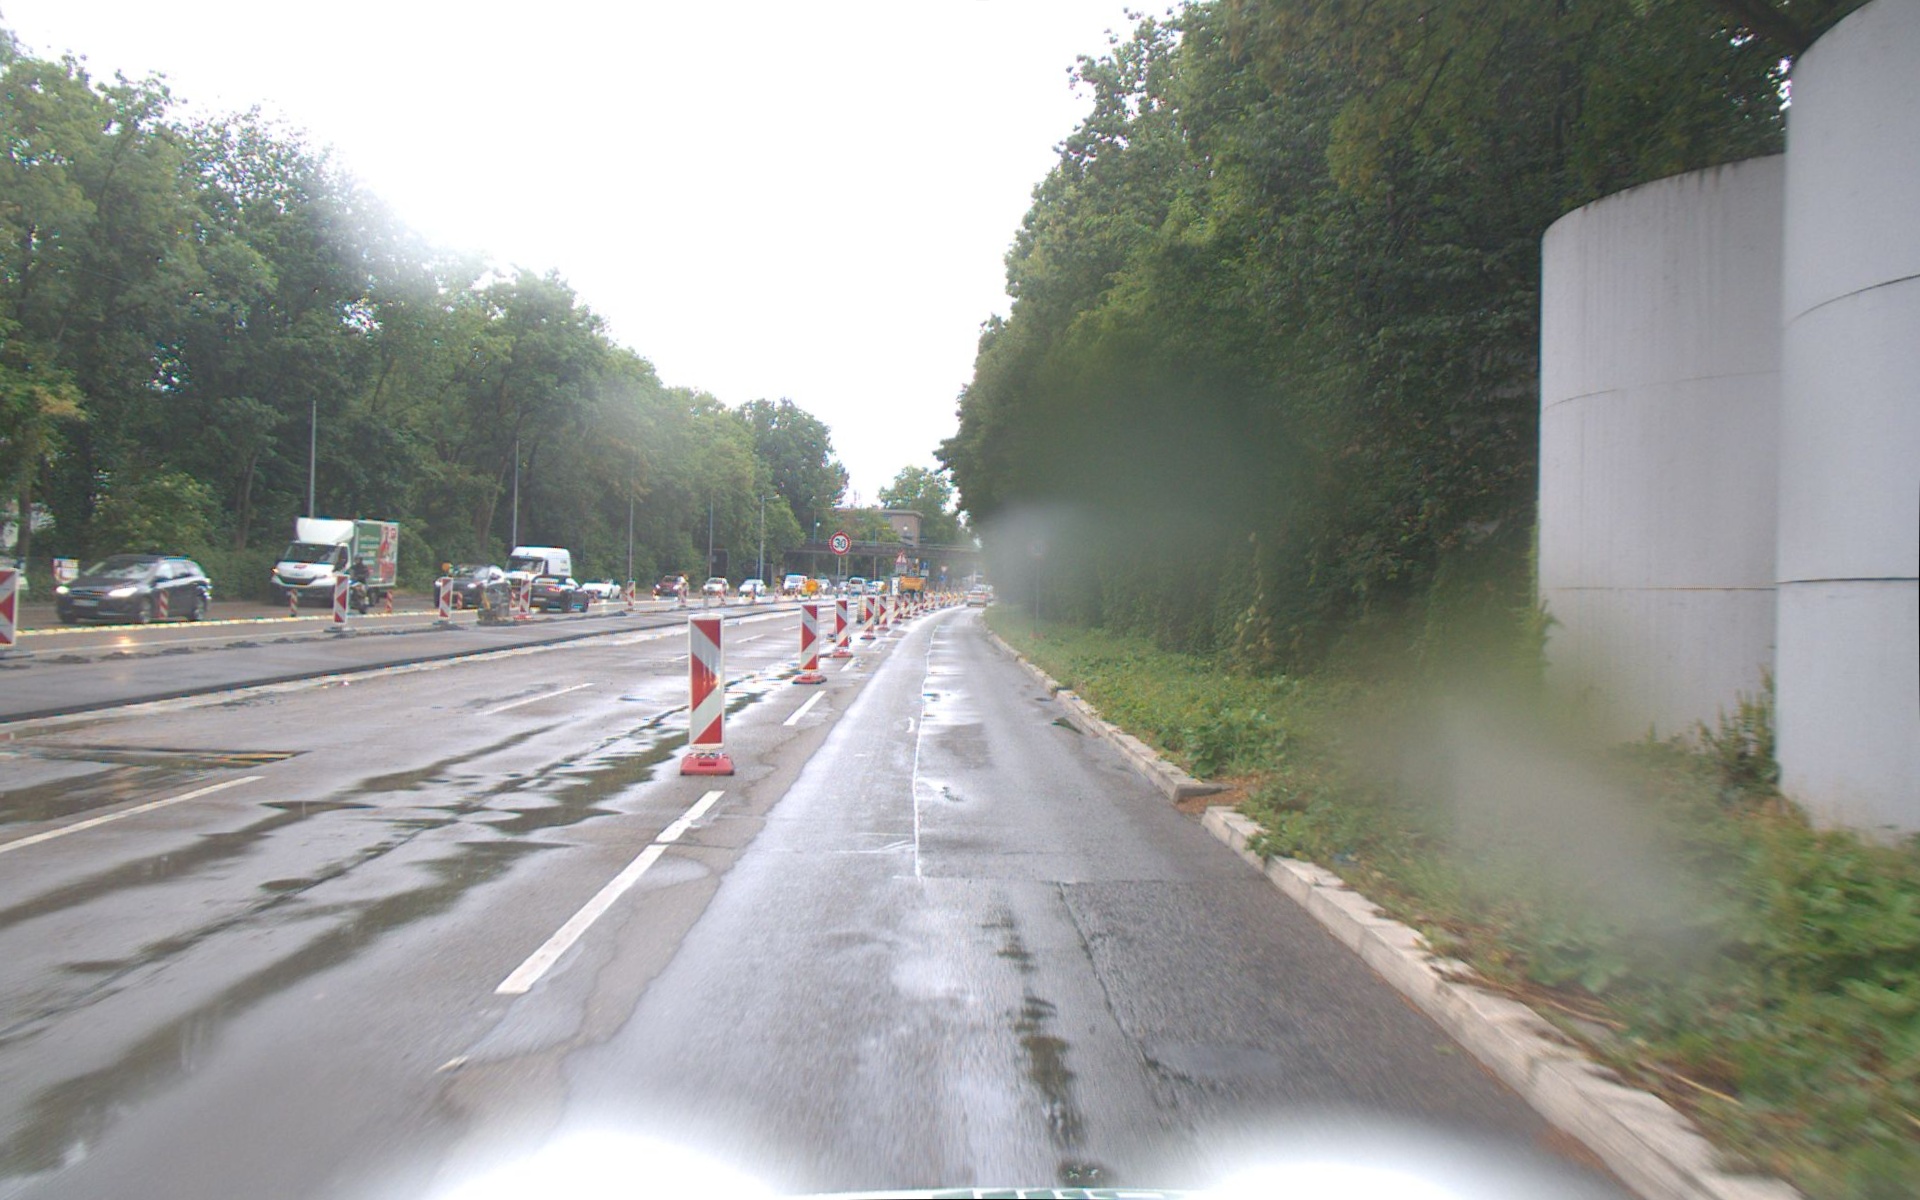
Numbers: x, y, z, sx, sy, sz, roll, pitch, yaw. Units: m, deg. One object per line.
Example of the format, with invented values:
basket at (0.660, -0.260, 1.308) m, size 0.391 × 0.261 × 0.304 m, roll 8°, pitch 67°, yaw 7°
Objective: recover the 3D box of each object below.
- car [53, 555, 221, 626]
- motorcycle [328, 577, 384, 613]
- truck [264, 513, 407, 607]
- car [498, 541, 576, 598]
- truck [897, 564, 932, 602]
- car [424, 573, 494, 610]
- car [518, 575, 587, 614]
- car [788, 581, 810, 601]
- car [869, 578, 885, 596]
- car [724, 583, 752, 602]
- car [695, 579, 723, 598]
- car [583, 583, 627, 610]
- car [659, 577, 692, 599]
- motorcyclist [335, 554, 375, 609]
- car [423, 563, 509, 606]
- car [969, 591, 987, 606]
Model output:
car at (-18.149, -0.210, 36.688) m, size 1.636 × 1.440 × 4.319 m, roll 1°, pitch 0°, yaw -2°
motorcycle at (-18.116, -0.162, 49.637) m, size 0.811 × 1.032 × 2.366 m, roll 2°, pitch 0°, yaw -1°
truck at (-21.379, -1.329, 57.039) m, size 2.200 × 2.991 × 6.935 m, roll 1°, pitch 0°, yaw 0°
car at (-20.981, -1.487, 82.398) m, size 2.056 × 2.625 × 6.854 m, roll 1°, pitch 0°, yaw 0°
truck at (-4.499, -1.684, 166.621) m, size 3.193 × 3.558 × 13.868 m, roll 1°, pitch 1°, yaw -1°
car at (-21.497, -0.367, 71.132) m, size 1.635 × 1.511 × 4.320 m, roll 1°, pitch 0°, yaw 0°
car at (-15.488, -0.222, 63.016) m, size 1.574 × 1.429 × 4.041 m, roll 1°, pitch 0°, yaw 0°
car at (-15.302, -0.819, 157.596) m, size 1.635 × 1.840 × 4.320 m, roll 1°, pitch 0°, yaw 0°
car at (-9.476, -1.499, 188.818) m, size 1.635 × 1.840 × 4.321 m, roll 1°, pitch 2°, yaw 0°
car at (-17.957, -0.608, 134.150) m, size 1.635 × 1.511 × 4.320 m, roll 1°, pitch 0°, yaw 0°
car at (-20.600, -0.946, 135.801) m, size 1.635 × 1.511 × 4.049 m, roll 1°, pitch 0°, yaw 0°
car at (-20.888, -0.231, 97.482) m, size 1.635 × 1.511 × 4.320 m, roll 1°, pitch 0°, yaw 0°
car at (-20.599, -0.857, 119.943) m, size 1.635 × 1.511 × 4.320 m, roll 1°, pitch 0°, yaw 0°
motorcyclist at (-18.096, -0.546, 49.490) m, size 0.811 × 1.592 × 0.926 m, roll 2°, pitch 0°, yaw -1°
car at (-19.027, -0.614, 63.859) m, size 1.919 × 1.558 × 4.437 m, roll 1°, pitch 0°, yaw 0°
car at (1.627, -0.158, 150.898) m, size 1.662 × 1.359 × 3.491 m, roll -1°, pitch 0°, yaw 0°
